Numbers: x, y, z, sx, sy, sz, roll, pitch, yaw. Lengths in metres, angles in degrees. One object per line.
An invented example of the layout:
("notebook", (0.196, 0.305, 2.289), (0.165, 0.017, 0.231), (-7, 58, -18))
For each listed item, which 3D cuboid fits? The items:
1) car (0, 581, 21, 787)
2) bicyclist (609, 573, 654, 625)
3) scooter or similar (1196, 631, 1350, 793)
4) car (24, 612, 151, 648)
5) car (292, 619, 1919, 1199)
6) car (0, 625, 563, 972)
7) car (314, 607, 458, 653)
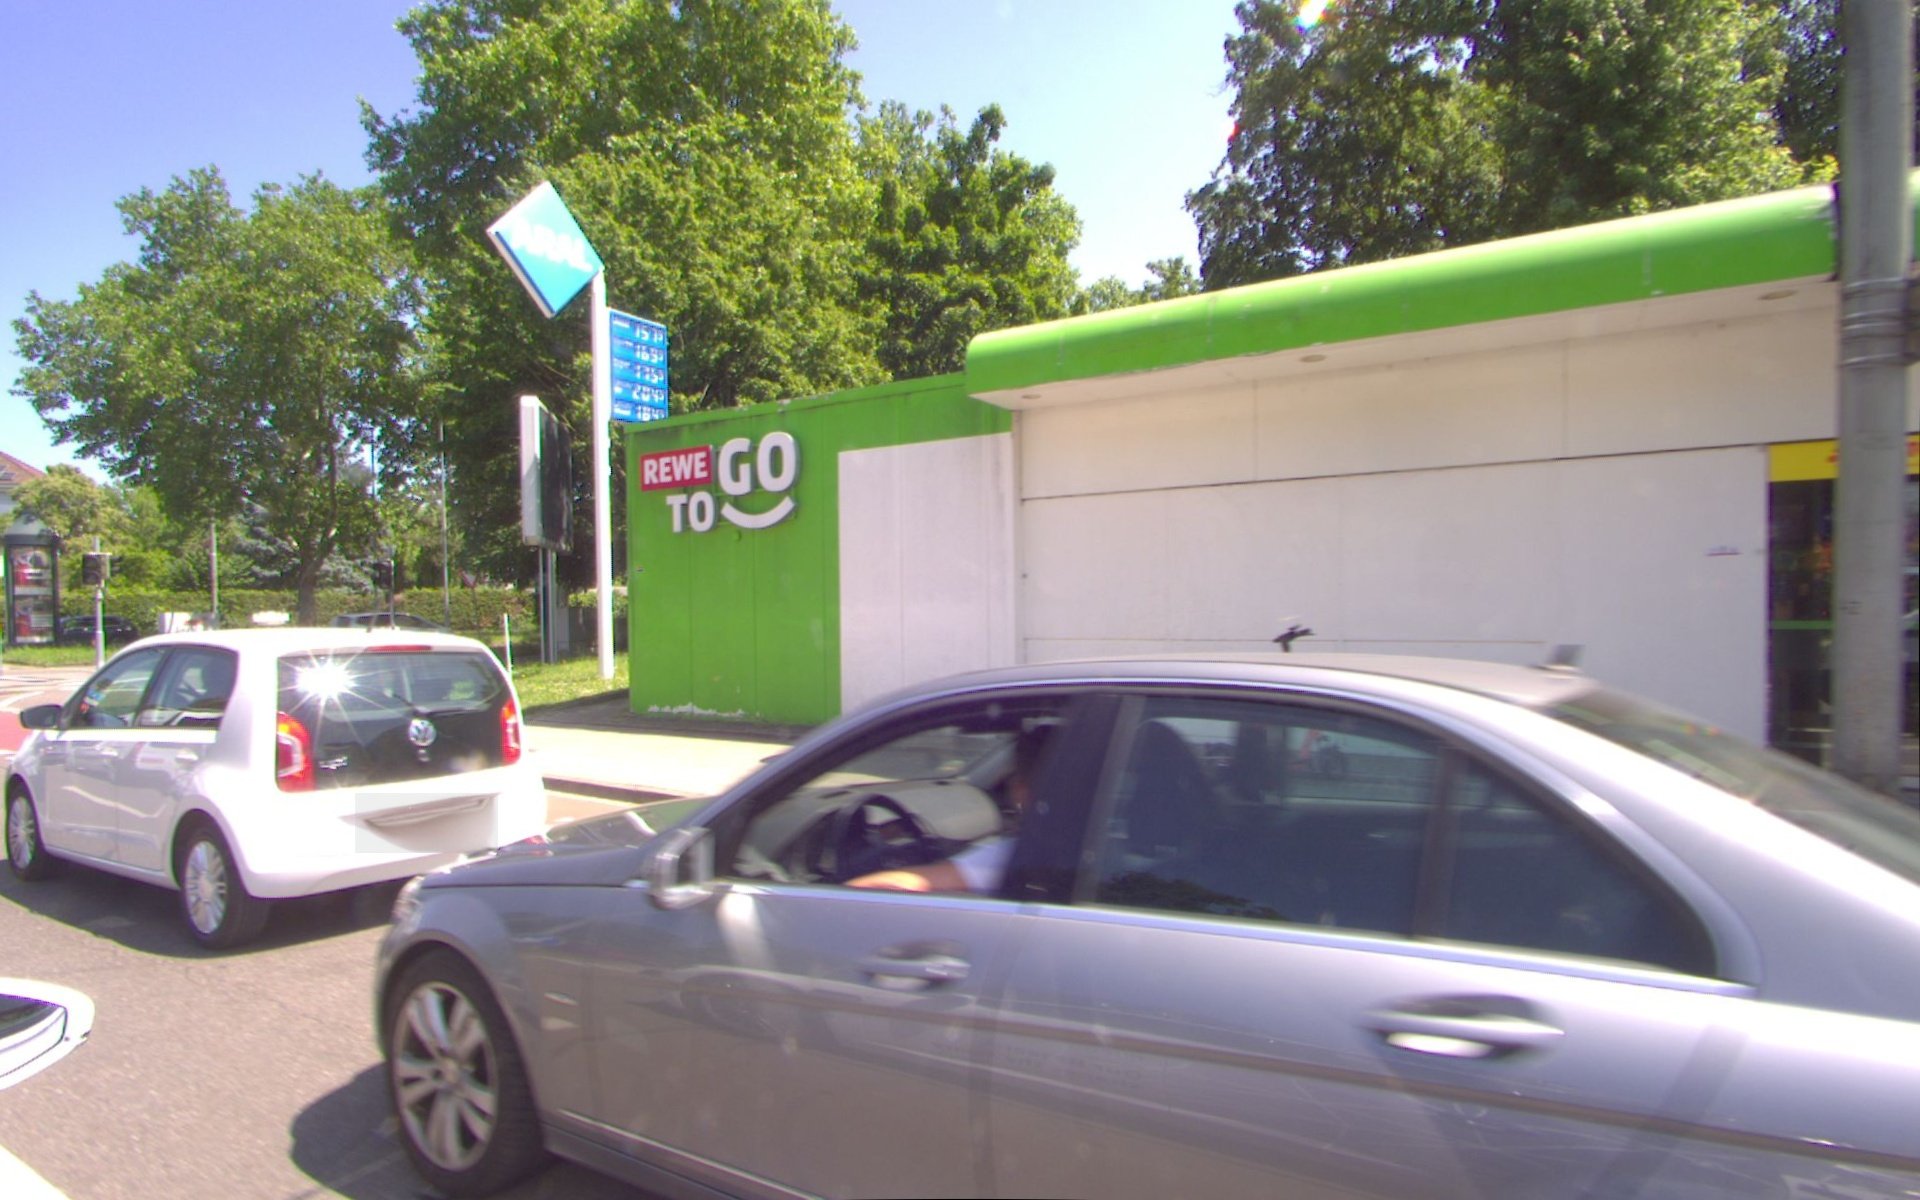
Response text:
("car", (-10.667, 0.768, 9.324), (3.953, 1.854, 1.708), (-1, 0, 30))
("bicyclist", (-11.187, -0.023, 34.132), (1.110, 1.762, 0.957), (0, 0, 12))
("scooter or similar", (2.510, 0.862, 8.074), (1.124, 1.211, 0.381), (0, 0, 36))
("car", (-38.709, 1.298, 44.490), (1.976, 1.528, 3.970), (-1, 0, 39))
("car", (0.335, 0.795, 2.565), (4.354, 1.468, 1.792), (-1, 0, 32))
("car", (-4.120, 0.887, 5.871), (3.470, 1.470, 1.604), (-1, -1, 32))
("car", (-22.030, 1.099, 38.582), (1.973, 1.638, 4.427), (-1, 0, 35))
